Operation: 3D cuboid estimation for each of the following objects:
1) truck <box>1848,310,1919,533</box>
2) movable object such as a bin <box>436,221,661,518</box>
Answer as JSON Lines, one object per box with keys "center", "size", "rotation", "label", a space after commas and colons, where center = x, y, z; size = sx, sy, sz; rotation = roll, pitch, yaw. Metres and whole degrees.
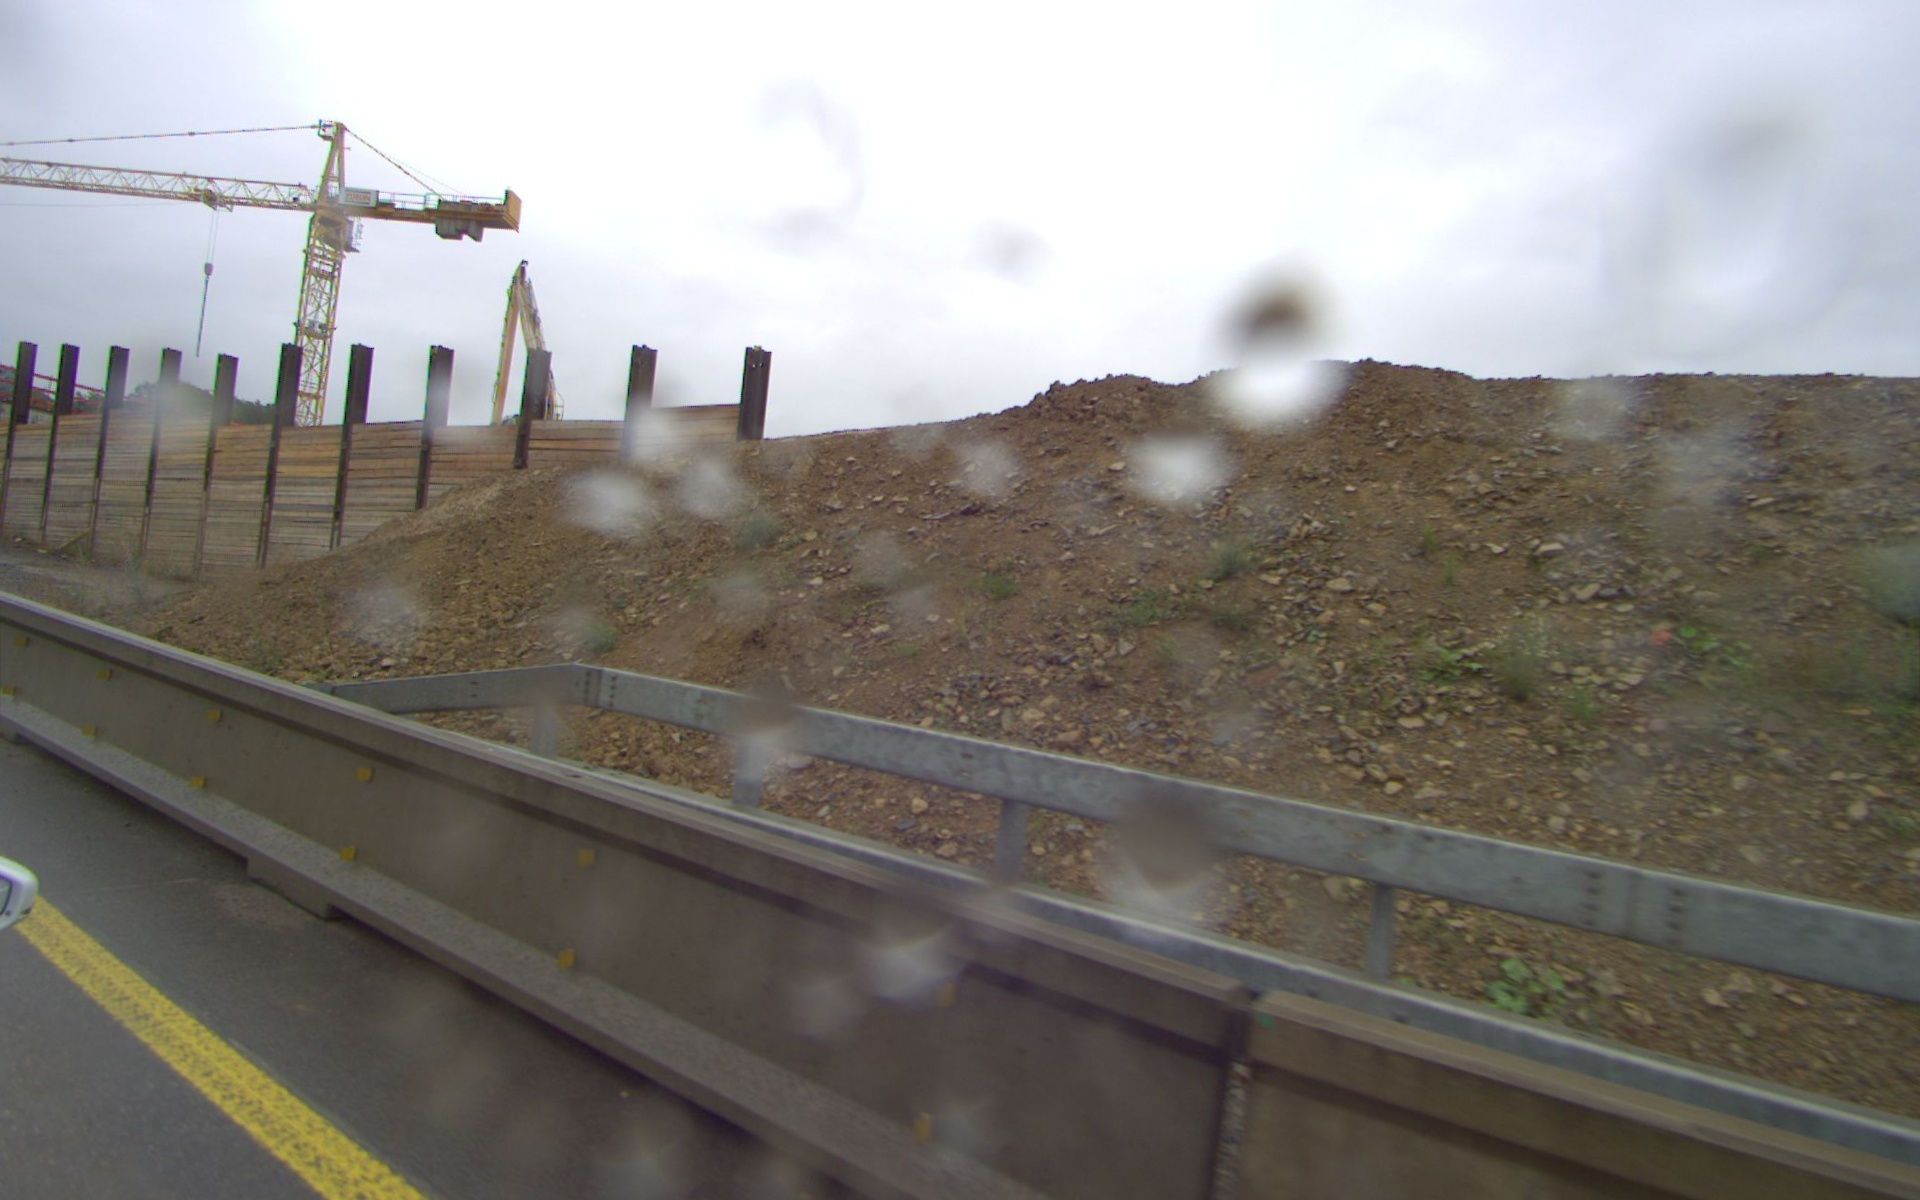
{"center": [15.941, -2.238, 12.423], "size": [6.864, 2.584, 2.652], "rotation": [4, -2, 28], "label": "truck"}
{"center": [-18.739, -9.638, 45.367], "size": [10.170, 10.968, 4.710], "rotation": [3, -2, 43], "label": "movable object such as a bin"}
